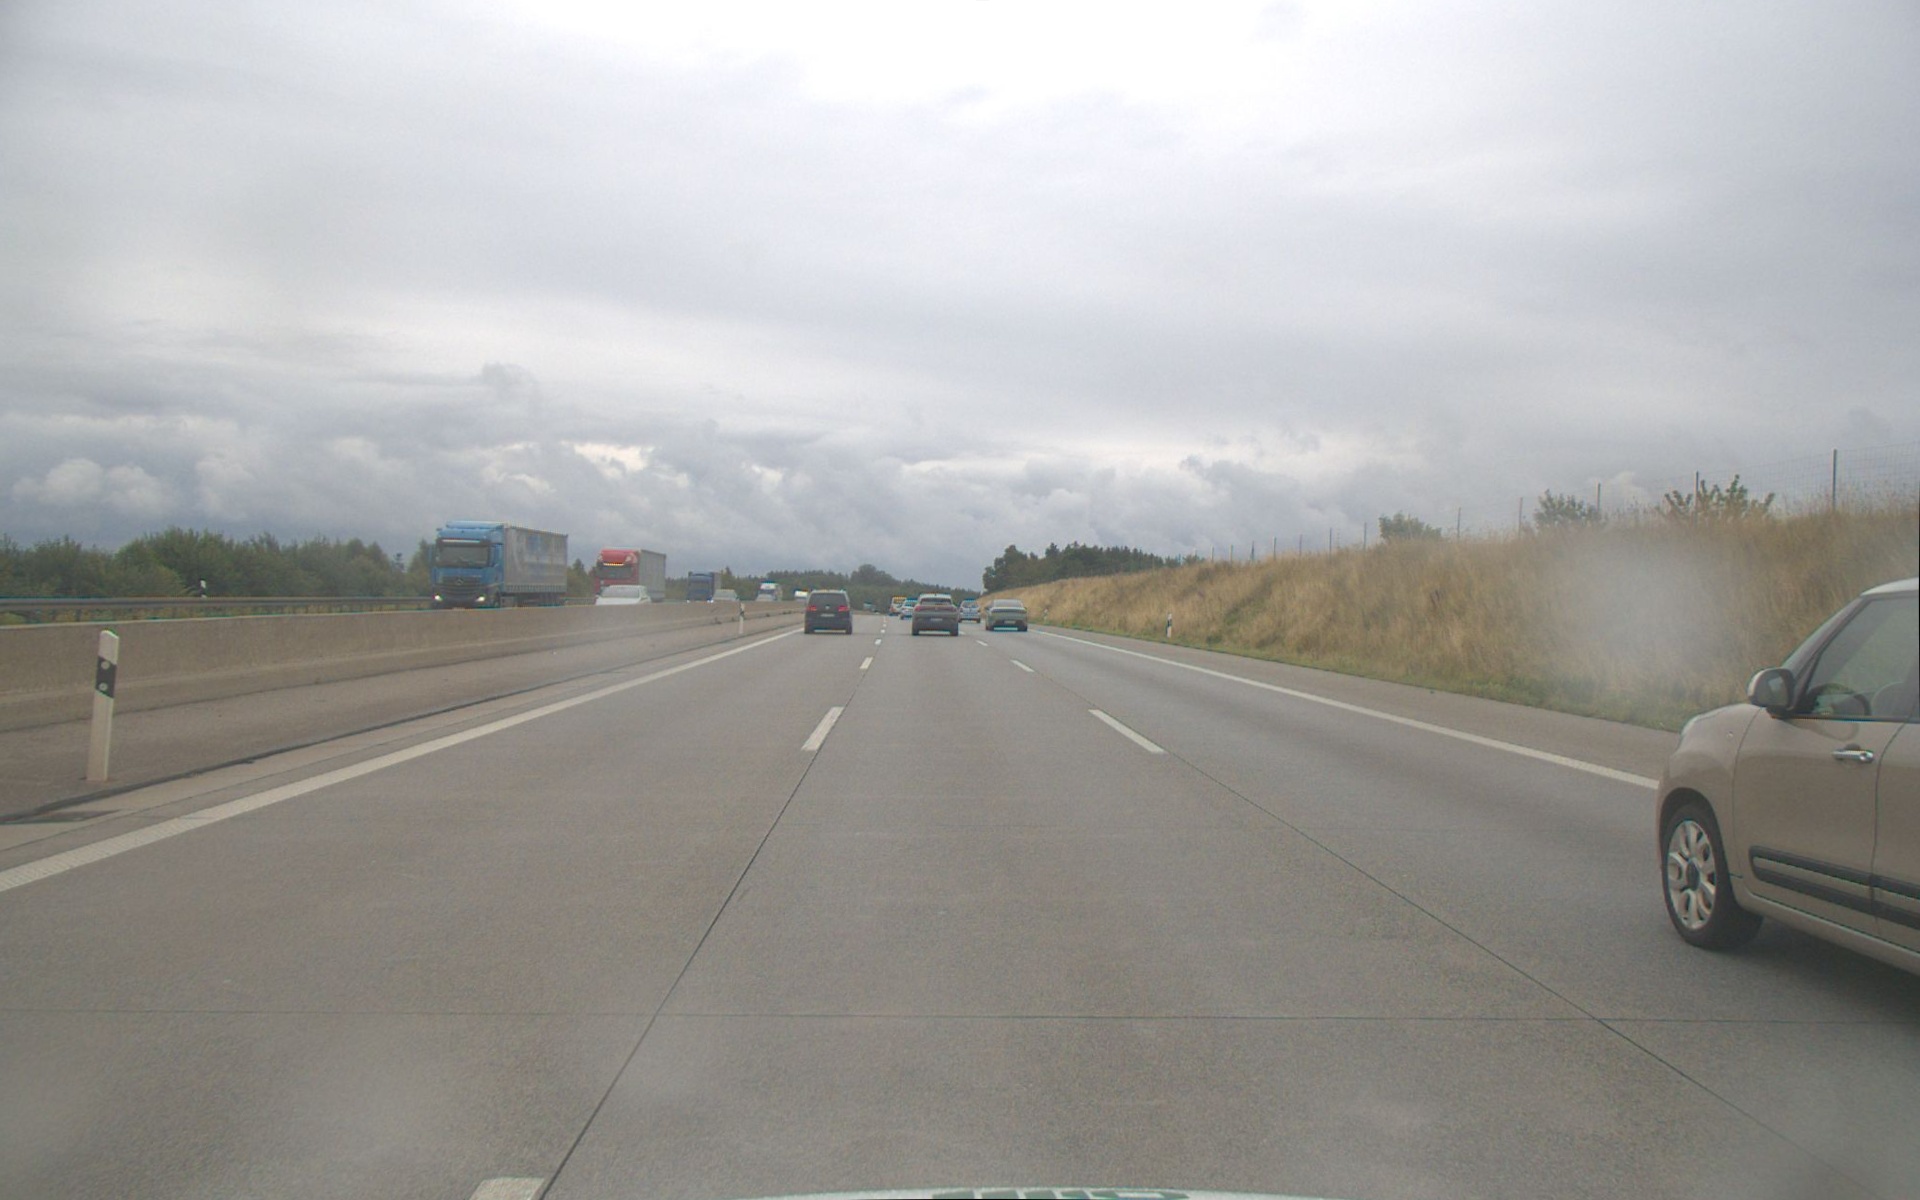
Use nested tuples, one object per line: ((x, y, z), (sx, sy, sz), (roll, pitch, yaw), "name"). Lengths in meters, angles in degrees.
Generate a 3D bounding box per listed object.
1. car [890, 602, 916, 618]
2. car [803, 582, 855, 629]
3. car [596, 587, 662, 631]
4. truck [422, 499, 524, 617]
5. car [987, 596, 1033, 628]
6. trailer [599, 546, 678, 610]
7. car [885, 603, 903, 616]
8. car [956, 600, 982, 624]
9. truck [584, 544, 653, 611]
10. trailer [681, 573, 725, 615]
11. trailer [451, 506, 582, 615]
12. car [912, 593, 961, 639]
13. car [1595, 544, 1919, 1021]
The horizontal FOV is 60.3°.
((-4.324, 0.779, 126.897), (1.760, 1.143, 4.001), (1, 0, 1), "car")
((-5.123, 0.208, 65.280), (1.749, 1.777, 3.914), (1, 0, -1), "car")
((-12.940, 0.320, 64.812), (1.664, 1.643, 4.719), (1, 0, -1), "car")
((-20.656, -1.737, 70.444), (2.869, 4.758, 5.230), (1, 0, -2), "truck")
((2.354, 0.548, 79.227), (1.973, 1.471, 4.744), (1, 0, -1), "car")
((-22.964, -1.535, 118.766), (3.413, 4.275, 12.924), (1, 0, -2), "trailer")
((-7.063, 1.016, 177.386), (1.760, 1.243, 4.001), (1, 0, 1), "car")
((0.610, 0.800, 110.912), (1.456, 1.496, 3.502), (4, 0, -3), "car")
((-22.757, -1.470, 110.537), (3.400, 4.255, 6.491), (1, 0, -2), "truck")
((-25.122, -0.586, 162.219), (2.792, 3.904, 12.394), (1, 0, -2), "trailer")
((-20.929, -1.742, 79.107), (2.857, 4.706, 13.632), (1, 0, -2), "trailer")
((-0.962, 0.614, 66.327), (1.859, 1.719, 5.265), (1, 0, -1), "car")
((4.166, 0.638, 6.202), (1.749, 1.633, 4.570), (1, 0, -1), "car")
